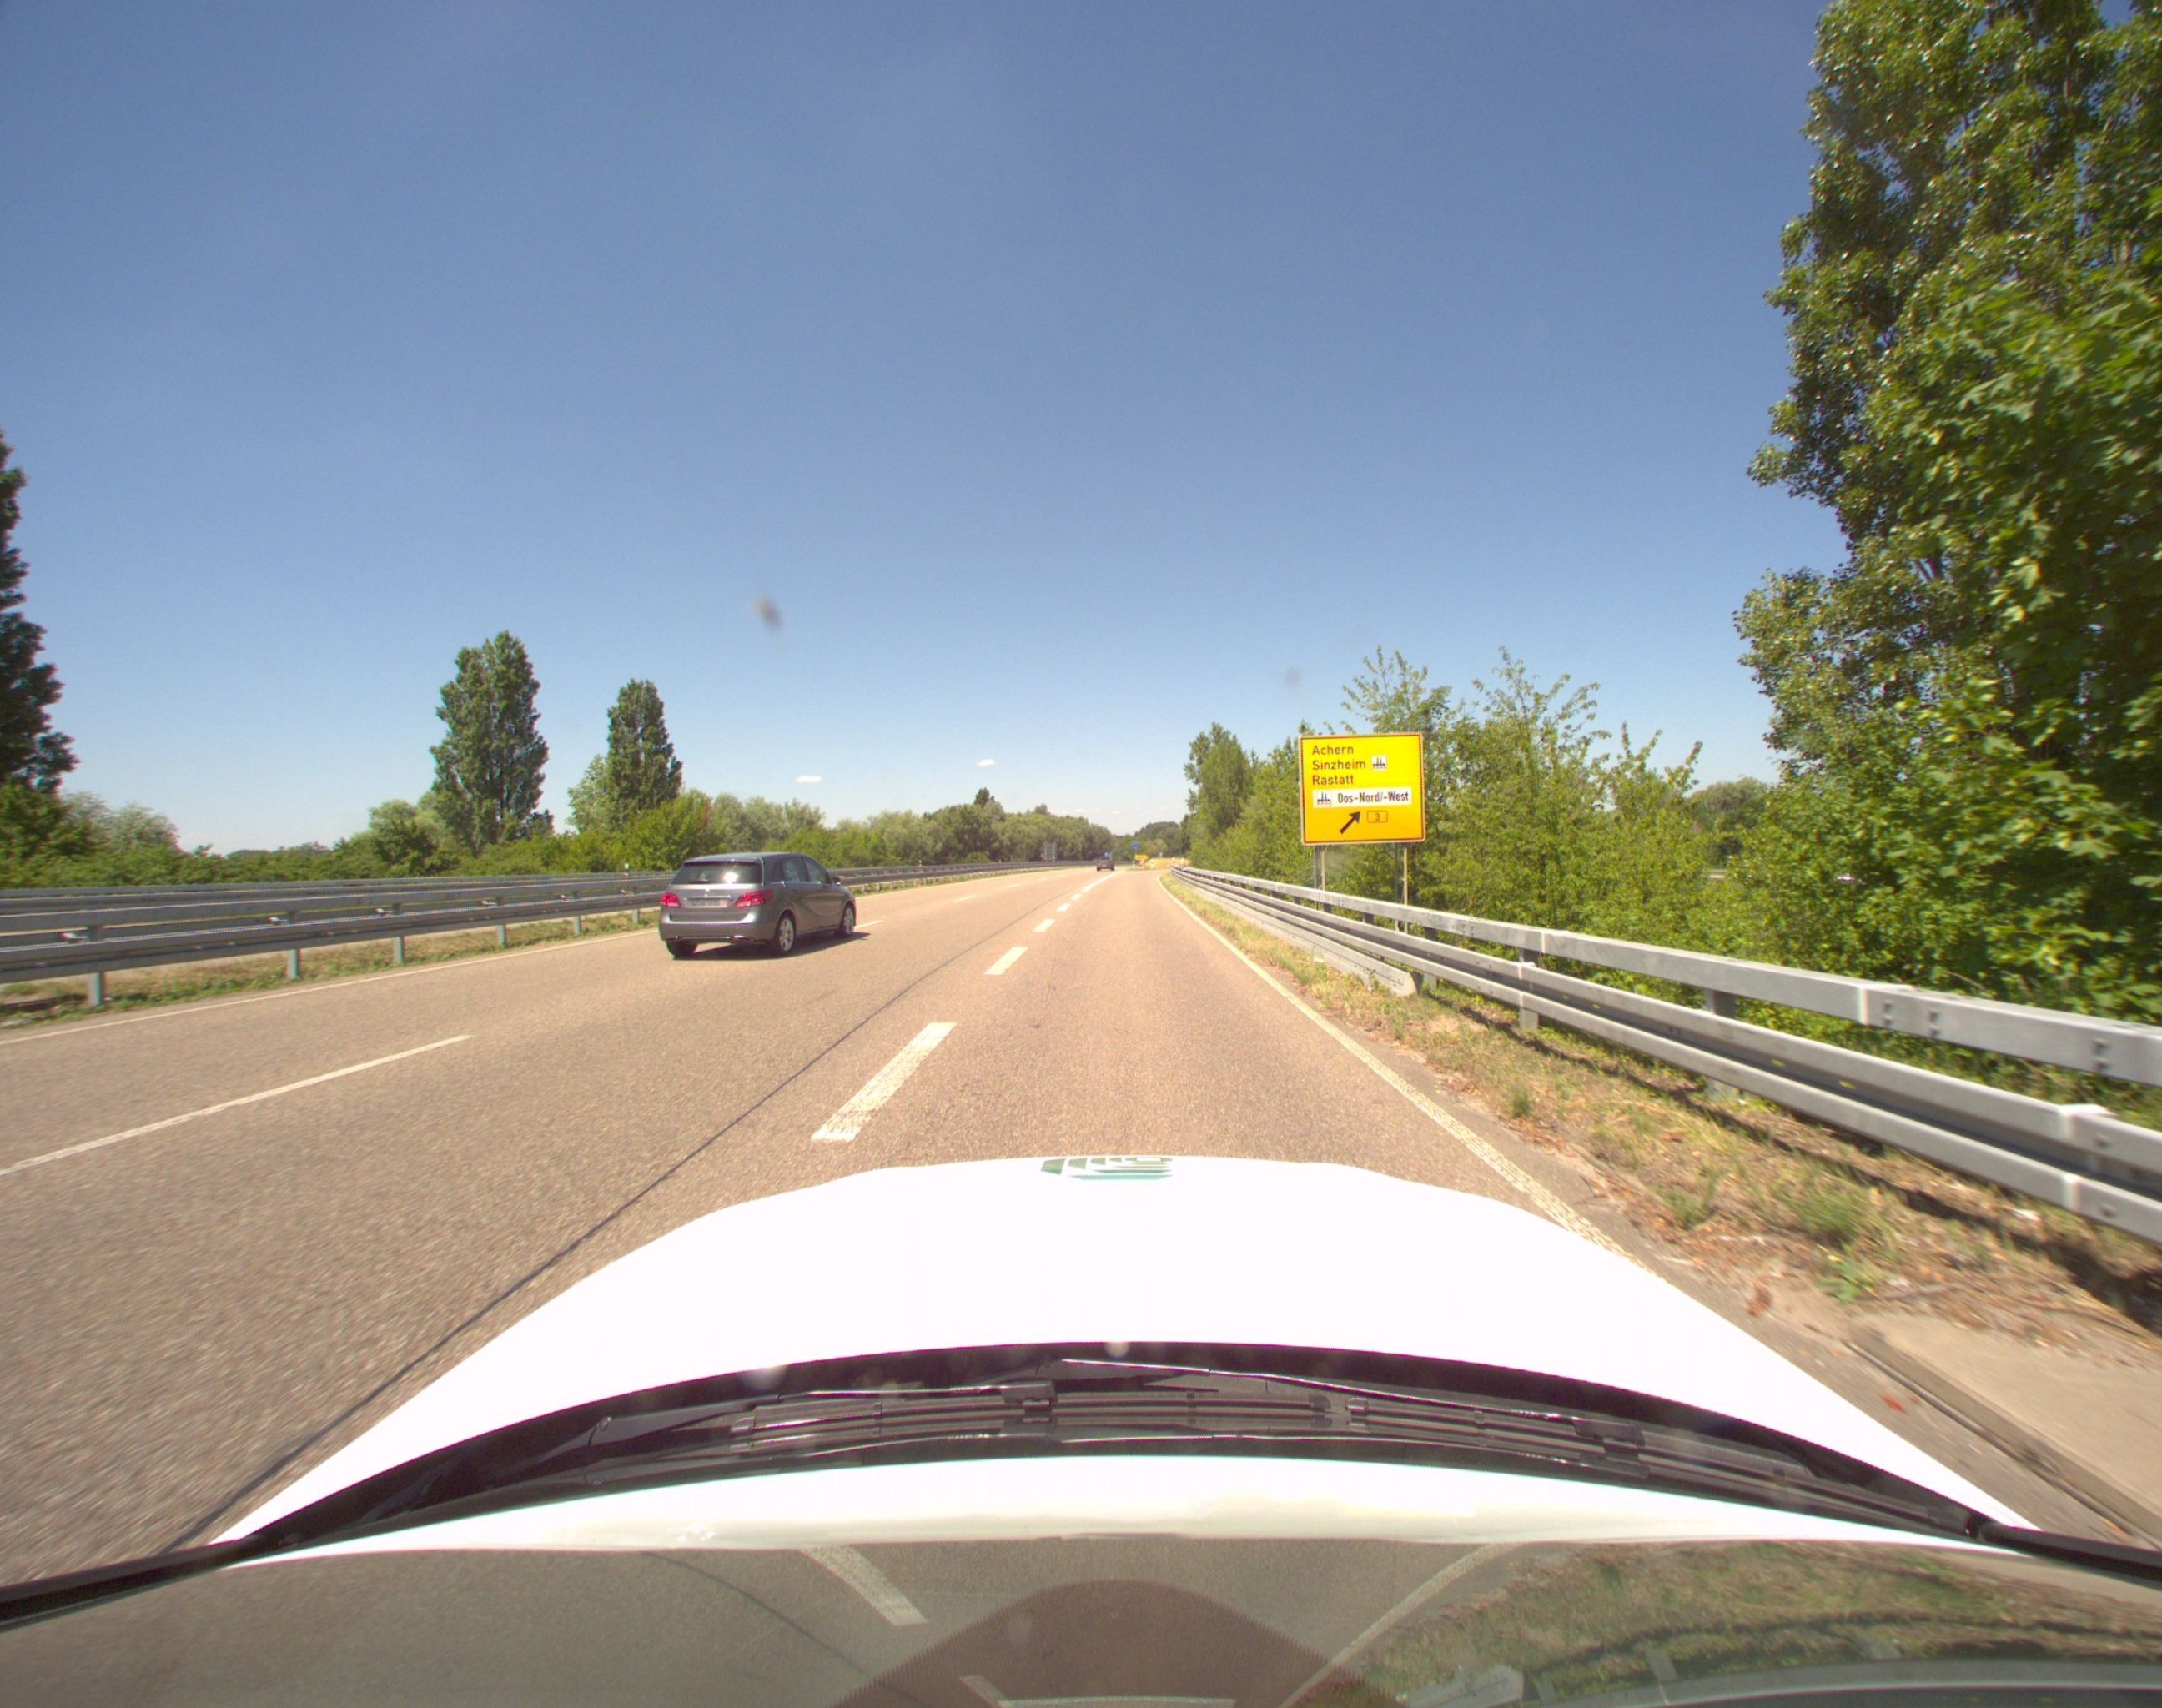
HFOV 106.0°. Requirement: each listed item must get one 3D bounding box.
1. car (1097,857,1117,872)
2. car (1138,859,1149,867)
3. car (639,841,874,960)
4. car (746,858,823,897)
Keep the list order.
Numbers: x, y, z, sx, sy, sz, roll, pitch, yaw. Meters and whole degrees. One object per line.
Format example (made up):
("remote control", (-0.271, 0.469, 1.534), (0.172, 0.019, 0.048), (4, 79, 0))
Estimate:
("car", (2.900, 1.181, 89.823), (1.831, 1.530, 4.480), (1, 1, 8))
("car", (12.203, 1.796, 158.642), (1.831, 1.464, 4.009), (1, 1, 8))
("car", (-5.144, 0.649, 13.720), (1.784, 1.667, 4.561), (0, 0, 5))
("car", (-13.642, 1.049, 37.739), (1.817, 1.647, 4.192), (-1, -1, 3))
